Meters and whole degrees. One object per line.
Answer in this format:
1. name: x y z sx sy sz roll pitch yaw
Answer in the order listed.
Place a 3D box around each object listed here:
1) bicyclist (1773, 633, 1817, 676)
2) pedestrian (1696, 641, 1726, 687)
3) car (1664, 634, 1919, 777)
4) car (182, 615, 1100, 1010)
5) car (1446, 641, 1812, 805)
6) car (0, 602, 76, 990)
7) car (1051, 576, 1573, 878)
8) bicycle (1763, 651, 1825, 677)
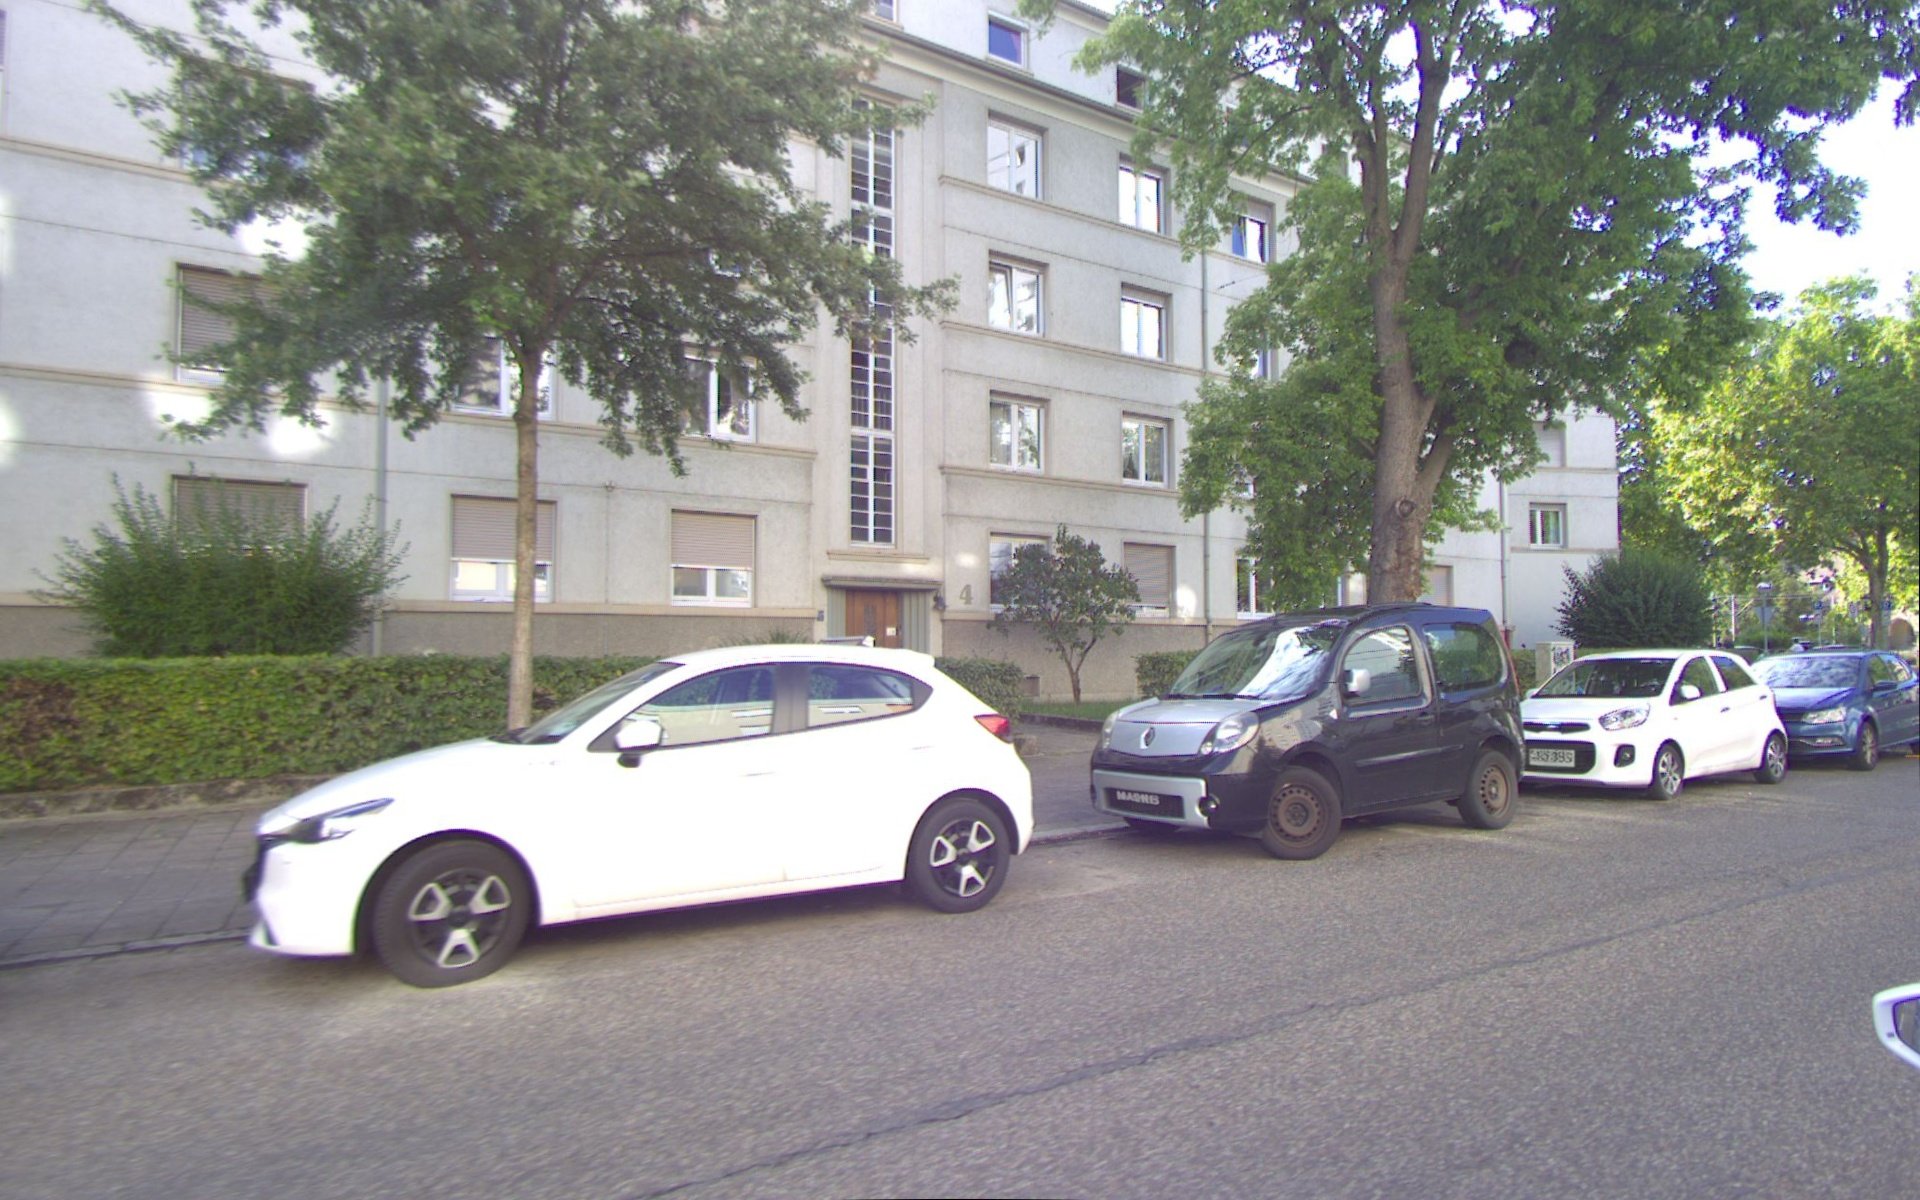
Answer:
1. bicyclist: 34.051 2.226 40.976 0.800 1.714 1.111 1 -2 -10
2. pedestrian: 26.510 2.241 35.483 0.721 1.599 0.731 -2 -3 30
3. car: 11.279 1.334 13.322 3.761 1.640 1.790 2 -6 -32
4. car: -1.472 0.913 5.638 4.276 1.512 1.689 1 -5 -27
5. car: 7.372 1.256 11.047 3.757 1.512 1.792 1 -6 -30
6. car: -5.169 0.767 3.370 2.980 1.539 1.547 1 -6 -29
7. car: 2.940 0.909 8.189 4.143 1.906 1.715 1 -5 -31
8. bicycle: 34.078 2.623 41.081 0.749 1.007 1.924 1 -2 -9
